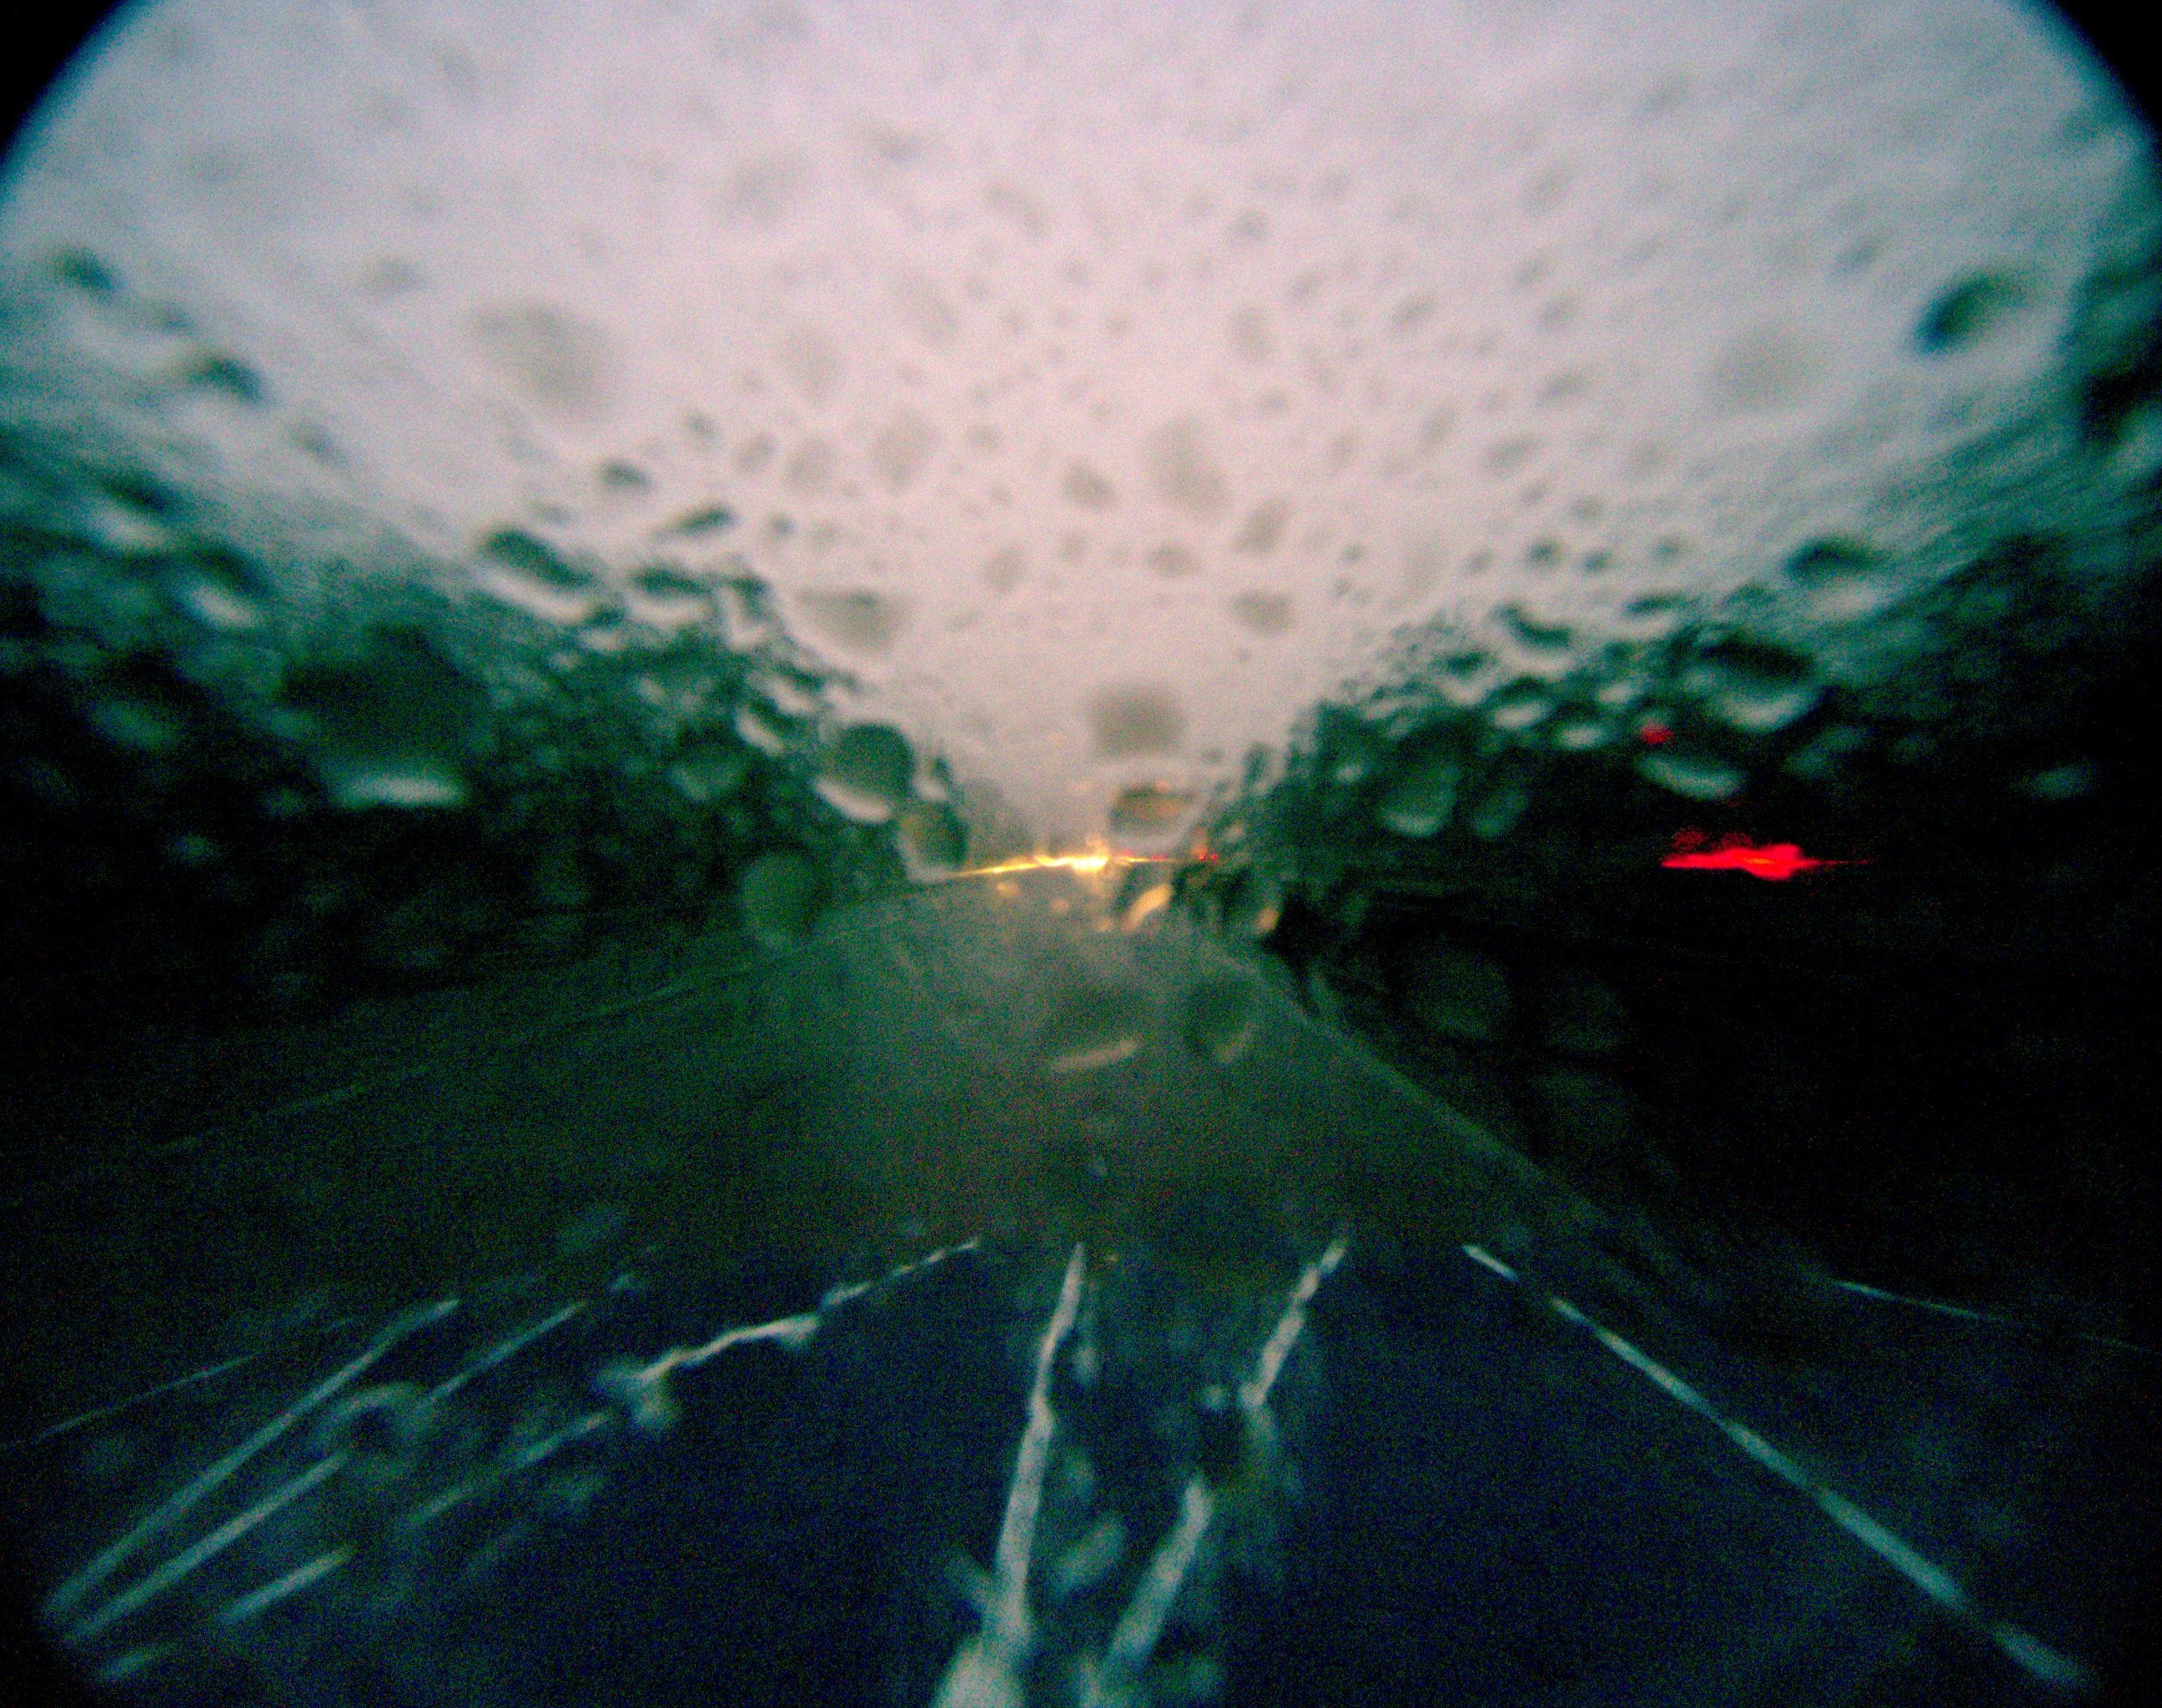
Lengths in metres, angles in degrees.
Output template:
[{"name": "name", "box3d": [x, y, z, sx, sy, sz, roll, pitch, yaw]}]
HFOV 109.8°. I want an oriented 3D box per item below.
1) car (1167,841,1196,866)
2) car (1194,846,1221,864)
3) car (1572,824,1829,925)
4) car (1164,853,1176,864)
[{"name": "car", "box3d": [8.695, -0.031, 66.051, 1.937, 2.002, 4.639, -2, 0, 1]}, {"name": "car", "box3d": [13.238, 0.088, 79.760, 1.998, 1.565, 4.271, -5, 2, 0]}, {"name": "car", "box3d": [11.935, 0.341, 15.052, 1.817, 1.681, 4.000, -2, 0, 0]}, {"name": "car", "box3d": [17.294, 0.812, 147.679, 1.998, 1.938, 4.712, -2, 0, 2]}]
